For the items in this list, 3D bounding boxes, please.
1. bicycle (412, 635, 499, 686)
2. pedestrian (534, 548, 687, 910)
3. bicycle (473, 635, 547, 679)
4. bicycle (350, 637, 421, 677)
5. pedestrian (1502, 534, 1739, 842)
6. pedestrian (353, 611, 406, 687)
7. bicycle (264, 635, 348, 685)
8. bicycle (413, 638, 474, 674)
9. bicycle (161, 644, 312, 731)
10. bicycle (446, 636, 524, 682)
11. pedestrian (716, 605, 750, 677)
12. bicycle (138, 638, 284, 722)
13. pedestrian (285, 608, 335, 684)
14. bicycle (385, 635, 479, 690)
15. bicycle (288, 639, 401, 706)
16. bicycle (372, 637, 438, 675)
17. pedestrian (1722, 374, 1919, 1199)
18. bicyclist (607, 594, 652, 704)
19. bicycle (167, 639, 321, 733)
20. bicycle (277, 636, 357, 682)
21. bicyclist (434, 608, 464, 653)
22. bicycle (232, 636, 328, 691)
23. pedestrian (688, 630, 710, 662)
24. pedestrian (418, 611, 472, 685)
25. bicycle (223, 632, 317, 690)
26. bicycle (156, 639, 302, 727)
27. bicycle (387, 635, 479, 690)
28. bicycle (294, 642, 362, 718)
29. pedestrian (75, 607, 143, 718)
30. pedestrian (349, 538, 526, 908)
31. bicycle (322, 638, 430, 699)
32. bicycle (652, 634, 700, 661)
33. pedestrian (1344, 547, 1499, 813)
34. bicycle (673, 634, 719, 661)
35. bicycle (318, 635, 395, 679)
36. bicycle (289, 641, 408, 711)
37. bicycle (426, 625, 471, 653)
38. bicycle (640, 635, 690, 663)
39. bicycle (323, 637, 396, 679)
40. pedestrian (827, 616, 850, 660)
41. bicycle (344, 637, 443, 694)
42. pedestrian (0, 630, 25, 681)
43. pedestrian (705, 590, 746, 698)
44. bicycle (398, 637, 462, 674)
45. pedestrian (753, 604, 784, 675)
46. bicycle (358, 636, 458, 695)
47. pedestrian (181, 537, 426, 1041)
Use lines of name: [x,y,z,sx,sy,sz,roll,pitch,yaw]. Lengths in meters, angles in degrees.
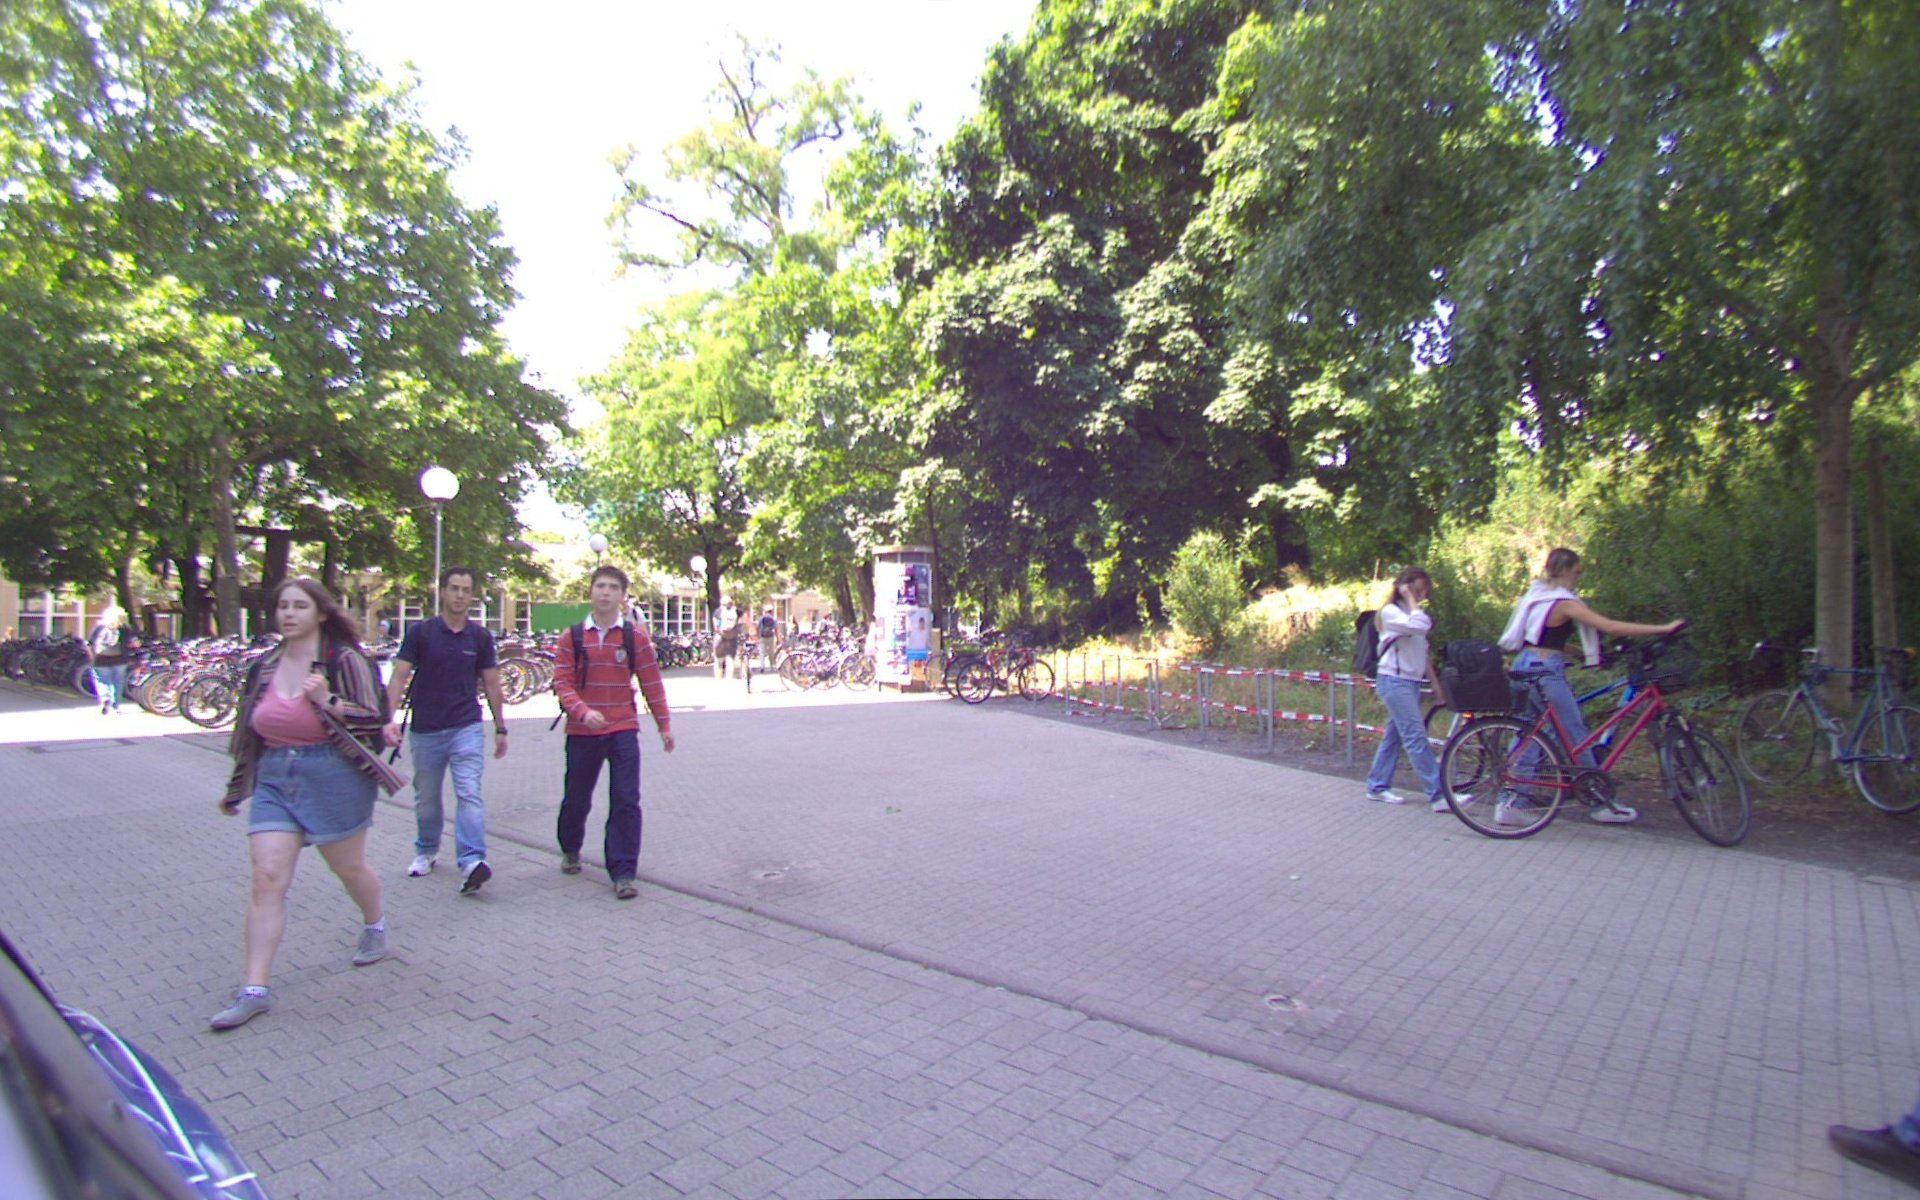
bicycle: [-11.234,1.342,22.562,1.671,1.092,0.475,0,-1,-14]
pedestrian: [-1.869,0.639,5.495,0.707,1.737,1.068,0,-3,-17]
bicycle: [-11.513,1.461,25.918,1.674,1.092,0.474,0,-1,-5]
bicycle: [-16.606,1.638,29.293,1.672,1.116,0.633,0,-1,-9]
pedestrian: [3.940,0.512,6.112,0.925,1.737,0.676,-1,-3,4]
pedestrian: [-13.421,1.125,23.422,0.892,1.716,0.772,0,-1,-13]
bicycle: [-16.329,1.492,25.290,1.671,1.209,0.577,0,-1,-13]
bicycle: [-16.644,1.800,32.615,1.756,1.116,0.502,-1,-1,3]
bicycle: [-10.173,1.197,14.288,0.473,1.099,1.680,-1,-1,34]
bicycle: [-11.568,1.429,24.679,1.674,1.092,0.474,0,-1,-5]
pedestrian: [-5.920,1.067,26.353,0.821,1.829,0.885,0,-1,-13]
bicycle: [-11.351,1.191,15.393,1.752,1.177,0.475,0,-1,-37]
pedestrian: [-15.852,1.114,24.703,0.701,1.820,0.768,-1,-1,7]
bicycle: [-10.910,1.279,20.943,1.671,1.092,0.475,0,-1,-14]
bicycle: [-10.872,1.258,17.908,1.672,1.092,0.475,0,-1,-36]
bicycle: [-16.711,1.673,30.508,1.672,1.116,0.504,0,-1,-9]
pedestrian: [2.483,0.452,2.131,0.874,1.872,1.035,-1,-1,-11]
bicyclist: [-4.892,0.709,14.986,0.585,1.580,0.723,0,-1,-14]
bicycle: [-9.834,1.149,13.965,0.472,1.168,1.681,-1,-1,31]
bicycle: [-16.441,1.500,25.901,1.671,1.116,0.504,0,-1,-13]
bicyclist: [-22.504,1.335,44.564,0.796,1.906,0.865,-3,-2,9]
bicycle: [-14.667,1.350,21.863,0.500,1.116,1.683,-1,-1,29]
pedestrian: [-14.107,2.476,54.740,0.727,1.697,0.863,-2,-3,37]
pedestrian: [-12.182,1.126,23.956,0.894,1.716,0.770,-1,-1,0]
bicycle: [-15.403,1.335,22.631,0.500,1.229,1.683,-1,-1,29]
bicycle: [-10.691,1.178,14.856,0.473,1.177,1.680,-1,-1,34]
bicycle: [-11.115,1.309,21.385,1.671,1.092,0.475,0,-1,-14]
bicycle: [-9.842,1.217,15.735,1.700,1.092,0.501,-1,-2,44]
pedestrian: [-13.473,0.974,16.046,0.757,1.692,0.909,0,-2,-36]
pedestrian: [-2.855,0.630,5.626,0.674,1.849,0.944,0,-3,-15]
bicycle: [-10.891,1.269,18.917,1.671,1.092,0.475,0,-1,-14]
bicycle: [-11.562,1.941,41.219,1.834,1.092,0.474,-1,-1,3]
pedestrian: [3.157,0.538,6.990,0.722,1.737,0.685,-1,-3,4]
bicycle: [-11.084,2.002,42.483,1.834,1.092,0.474,-1,-1,3]
bicycle: [-16.060,1.517,26.964,1.671,1.116,0.504,0,-1,-13]
bicycle: [-10.243,1.255,16.990,1.672,1.092,0.475,0,-1,-37]
bicycle: [-22.486,1.697,44.515,0.796,1.181,1.881,-2,-1,9]
bicycle: [-11.633,1.934,39.924,1.834,1.092,0.474,-1,-1,3]
bicycle: [-16.673,1.615,28.139,1.672,1.116,0.504,0,-1,-9]
pedestrian: [-5.001,1.542,41.666,0.761,1.788,0.905,-1,-1,7]
bicycle: [-11.317,1.295,20.251,1.670,1.092,0.475,0,-1,-18]
pedestrian: [-31.565,1.833,33.439,0.868,1.668,0.704,1,-3,-38]
pedestrian: [-4.189,0.769,18.043,0.603,1.849,1.053,0,-2,-19]
bicycle: [-16.697,1.747,31.894,1.756,1.116,0.502,-1,-1,3]
pedestrian: [-5.013,1.033,26.579,0.757,1.817,0.985,0,-1,-9]
bicycle: [-10.820,1.276,19.892,1.670,1.092,0.475,0,-1,-18]
pedestrian: [-2.597,0.655,3.997,0.676,1.737,0.732,0,-1,-45]
